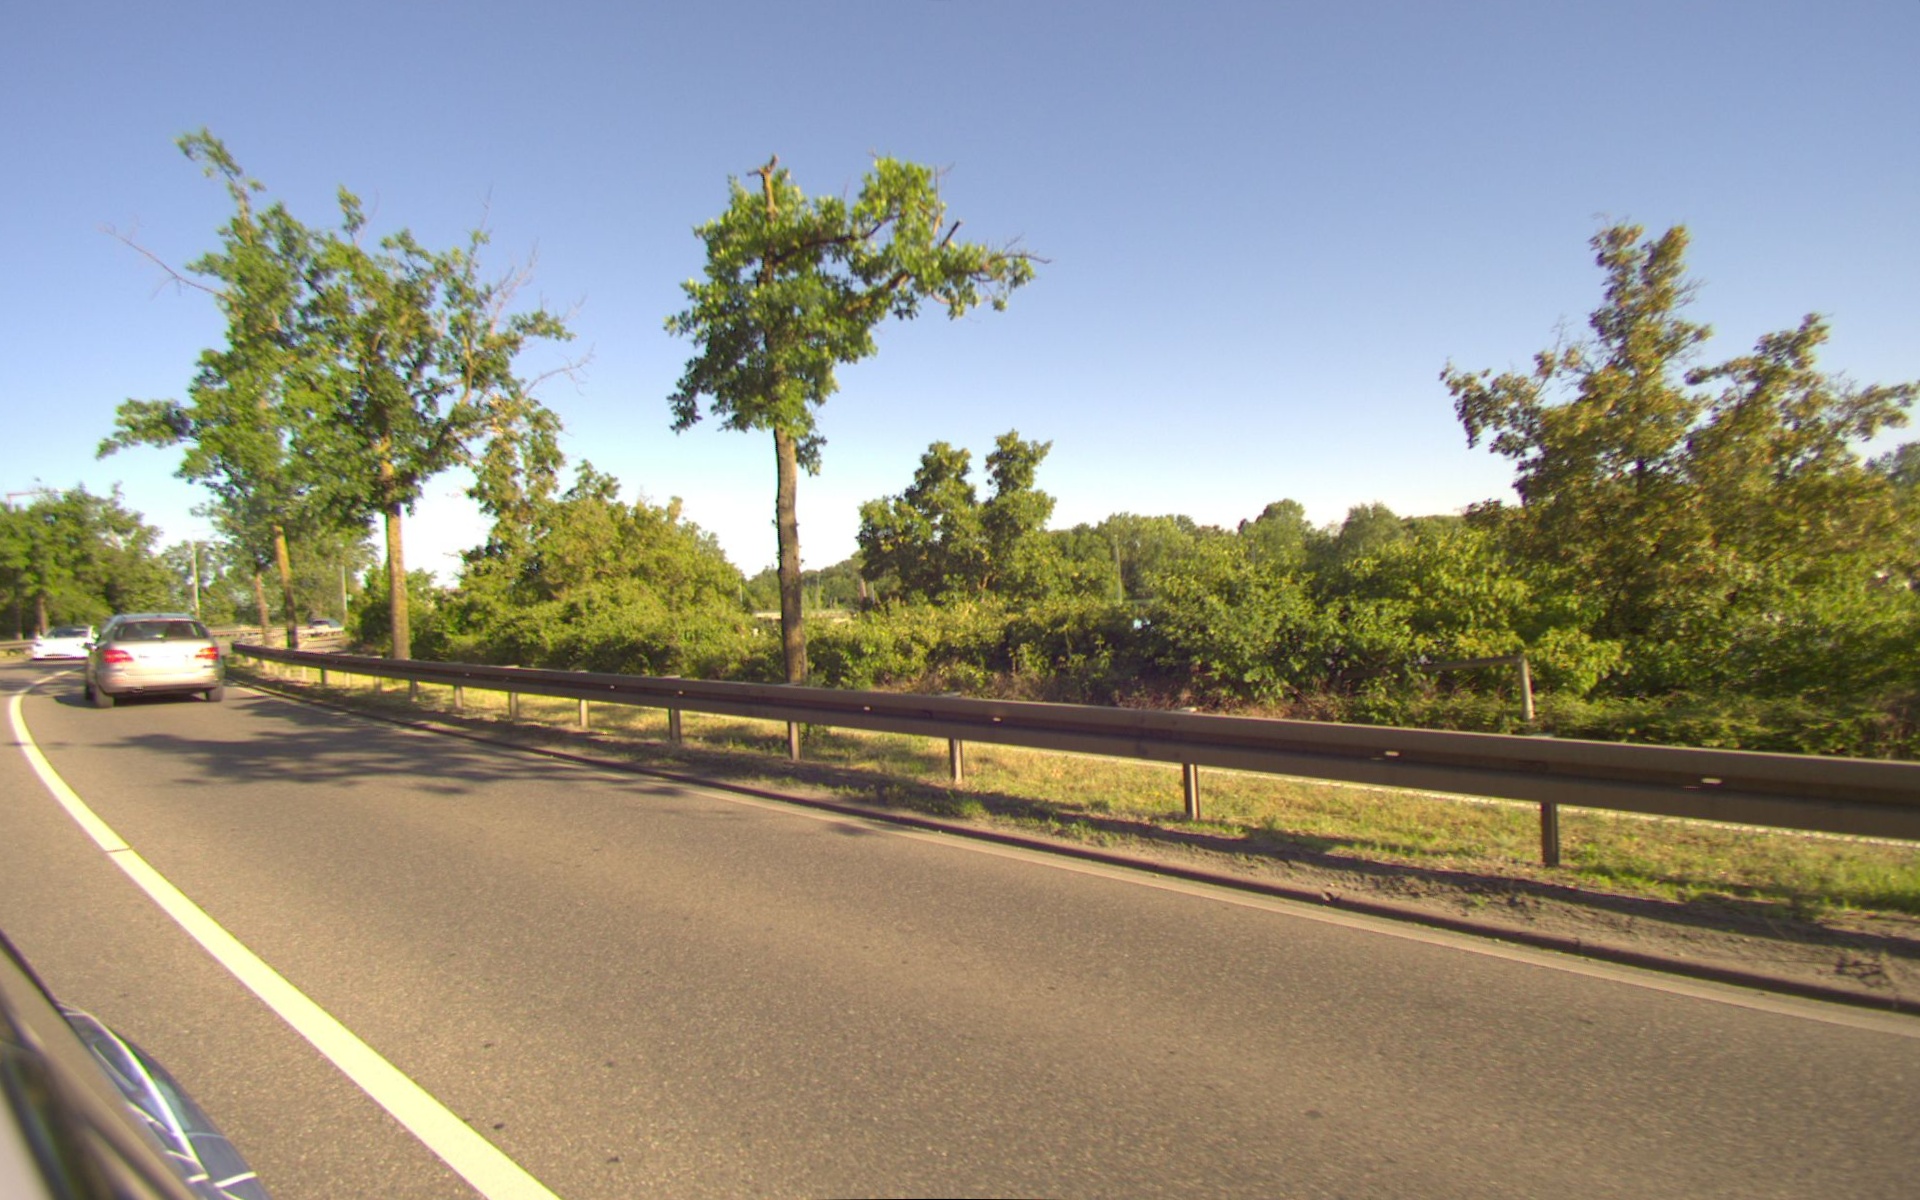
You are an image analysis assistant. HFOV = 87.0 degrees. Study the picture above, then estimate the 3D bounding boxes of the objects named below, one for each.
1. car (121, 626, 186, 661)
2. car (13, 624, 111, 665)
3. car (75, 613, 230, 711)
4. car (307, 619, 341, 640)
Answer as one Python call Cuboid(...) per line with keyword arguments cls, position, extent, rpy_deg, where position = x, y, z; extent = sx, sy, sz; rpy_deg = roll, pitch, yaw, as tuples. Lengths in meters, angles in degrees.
Cuboid(cls="car", position=(-43.512, 2.311, 54.683), extent=(1.655, 1.717, 3.617), rpy_deg=(-1, 0, -20))
Cuboid(cls="car", position=(-37.491, 1.820, 42.382), extent=(2.114, 1.579, 4.211), rpy_deg=(0, -1, -28))
Cuboid(cls="car", position=(-14.893, 1.063, 18.583), extent=(1.788, 1.566, 4.143), rpy_deg=(-1, -1, -45))
Cuboid(cls="car", position=(-49.007, 2.251, 77.995), extent=(1.671, 1.530, 3.994), rpy_deg=(0, -1, -24))
